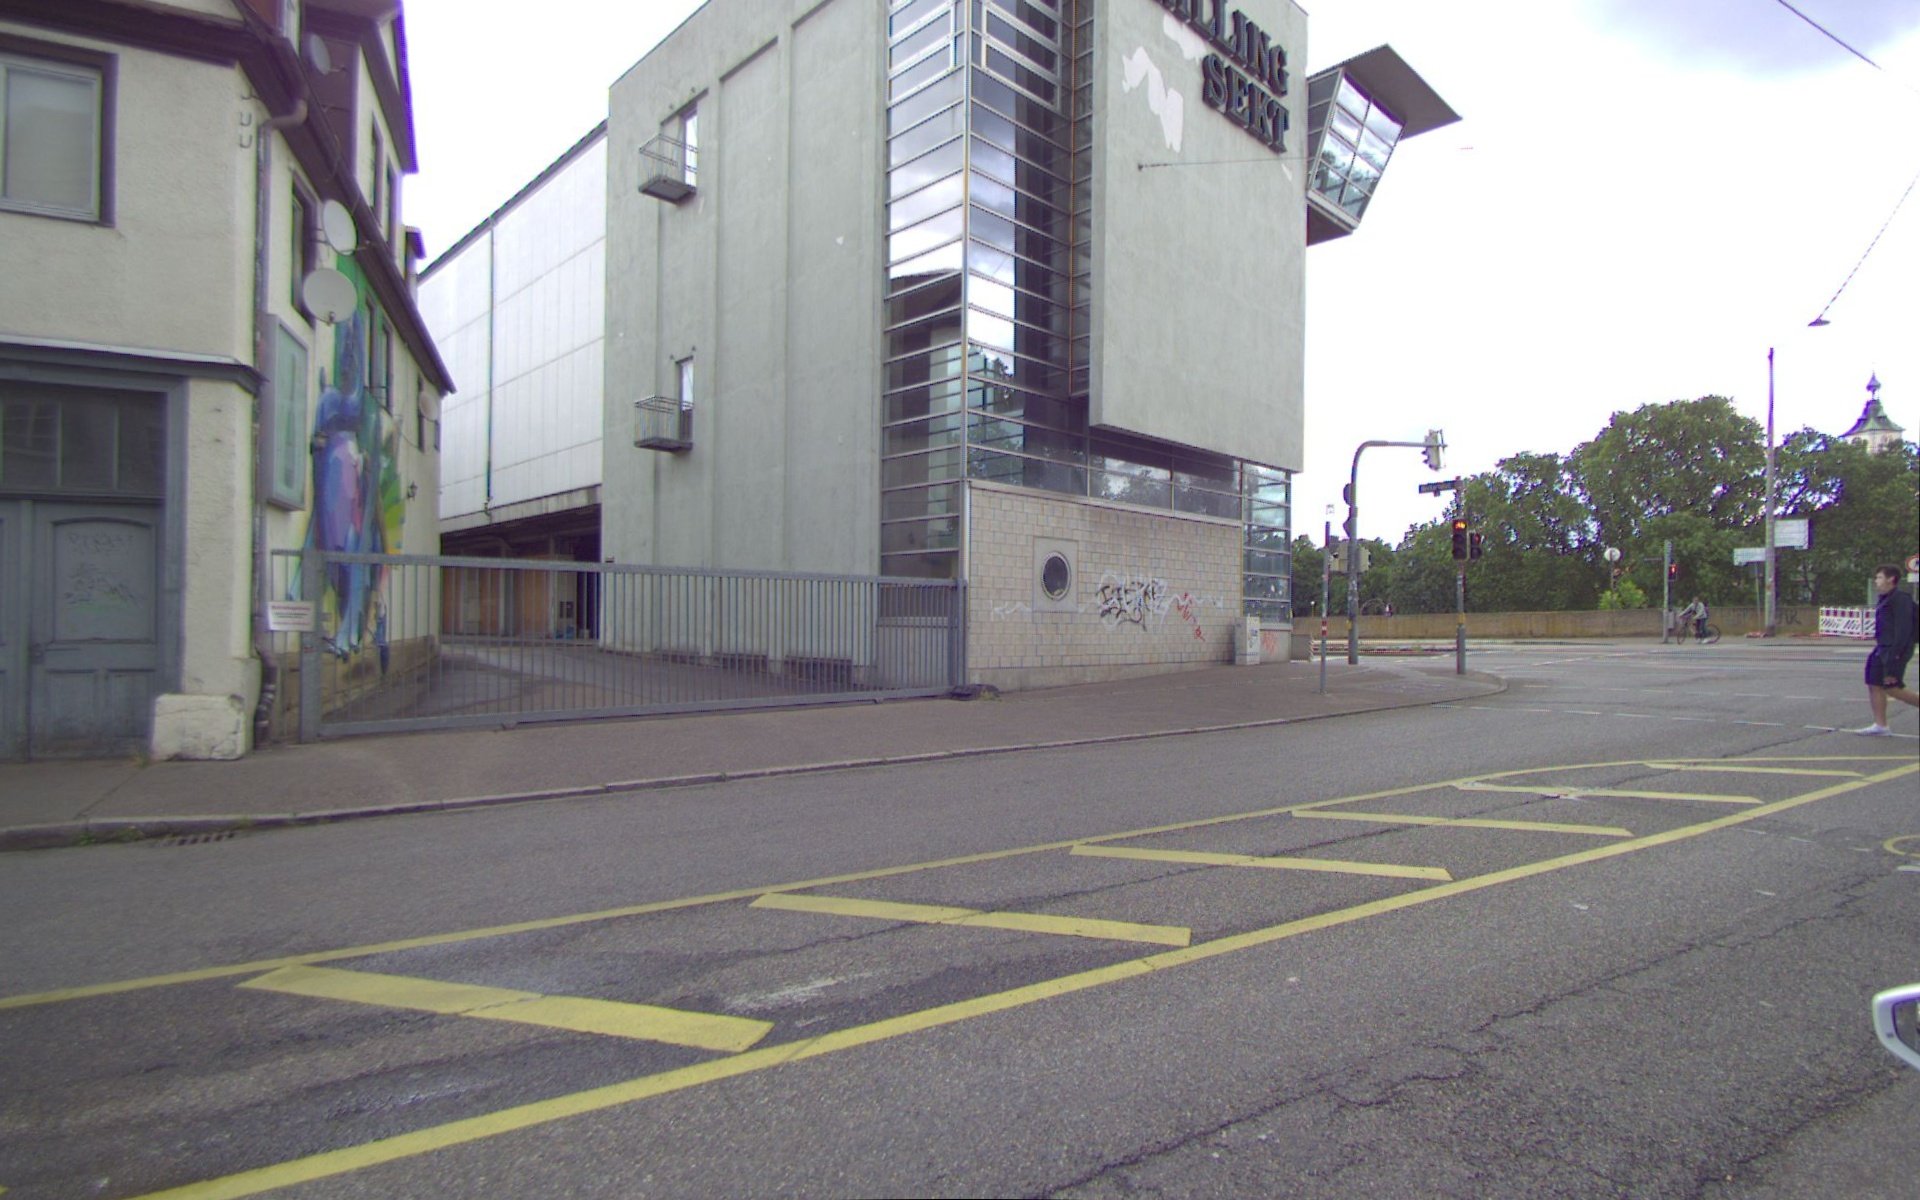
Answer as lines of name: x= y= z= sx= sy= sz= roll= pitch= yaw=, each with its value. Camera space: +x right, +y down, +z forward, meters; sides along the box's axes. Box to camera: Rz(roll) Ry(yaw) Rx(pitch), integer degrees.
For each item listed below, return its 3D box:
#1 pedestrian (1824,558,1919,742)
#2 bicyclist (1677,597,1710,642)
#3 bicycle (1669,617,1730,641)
pedestrian: x=10.289 y=0.511 z=10.905 sx=1.045 sy=1.911 sz=1.083 roll=-1 pitch=1 yaw=-30
bicyclist: x=28.374 y=0.735 z=38.869 sx=0.794 sy=1.723 sz=0.726 roll=0 pitch=-1 yaw=9
bicycle: x=28.587 y=1.121 z=38.838 sx=1.842 sy=0.904 sz=0.543 roll=0 pitch=-1 yaw=9
